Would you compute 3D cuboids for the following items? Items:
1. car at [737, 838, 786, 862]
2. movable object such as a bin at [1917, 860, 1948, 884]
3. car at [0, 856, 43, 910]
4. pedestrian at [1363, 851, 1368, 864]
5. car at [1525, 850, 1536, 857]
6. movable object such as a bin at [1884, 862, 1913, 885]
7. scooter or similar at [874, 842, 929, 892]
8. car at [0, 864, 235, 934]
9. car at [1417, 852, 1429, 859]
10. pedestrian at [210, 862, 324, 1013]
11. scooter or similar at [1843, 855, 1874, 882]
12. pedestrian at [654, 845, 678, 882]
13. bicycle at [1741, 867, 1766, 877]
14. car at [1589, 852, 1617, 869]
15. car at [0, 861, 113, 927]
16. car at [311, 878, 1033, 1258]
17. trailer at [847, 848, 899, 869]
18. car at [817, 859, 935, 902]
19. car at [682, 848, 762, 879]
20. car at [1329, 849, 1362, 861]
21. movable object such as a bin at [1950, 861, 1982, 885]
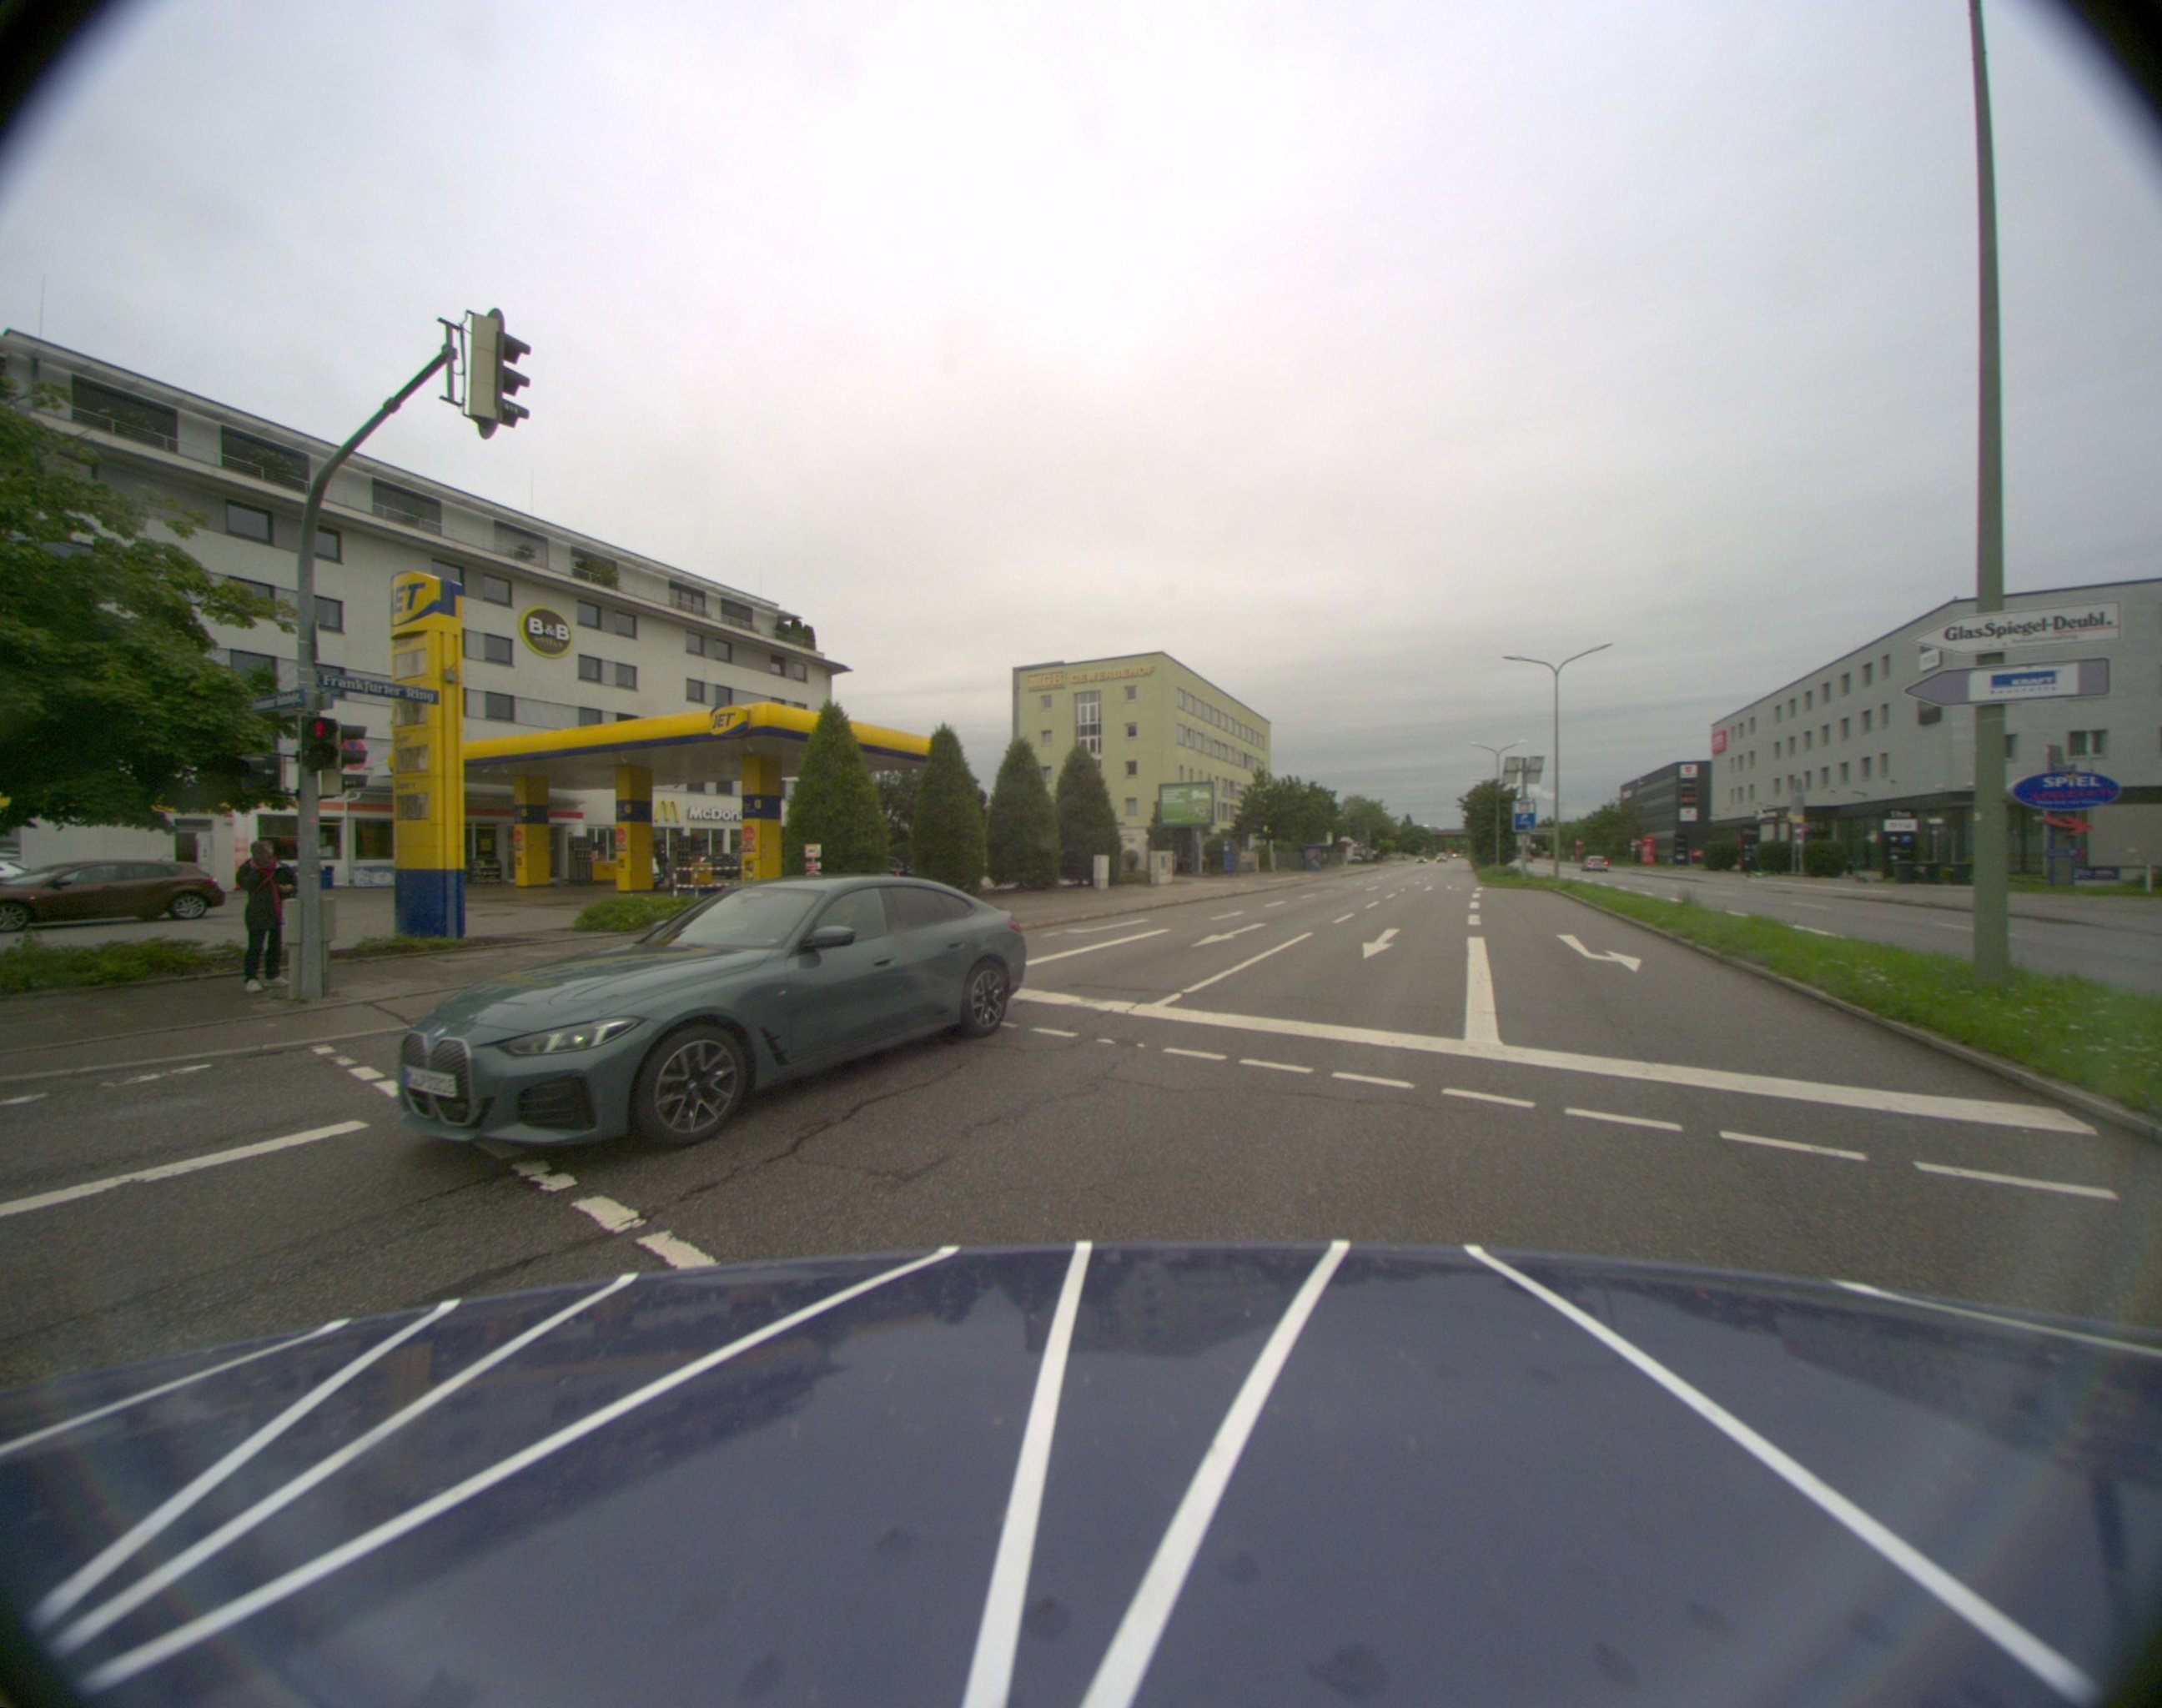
[{"bbox_3d":[-27.249,-0.345,64.873,3.989,1.931,1.725,-1,0,29],"label":"car"},{"bbox_3d":[38.900,0.812,34.730,0.737,1.072,0.656,-1,0,27],"label":"movable object such as a bin"},{"bbox_3d":[-31.163,0.829,20.023,1.904,1.469,4.200,-1,0,26],"label":"car"},{"bbox_3d":[41.759,0.524,111.583,0.681,1.810,0.689,-1,0,26],"label":"pedestrian"},{"bbox_3d":[94.234,-0.106,159.287,1.736,1.539,4.312,1,1,26],"label":"car"},{"bbox_3d":[38.528,0.910,35.805,0.737,1.072,0.656,-1,0,27],"label":"movable object such as a bin"},{"bbox_3d":[-4.633,0.313,19.690,0.356,1.236,1.548,3,2,32],"label":"scooter or similar"},{"bbox_3d":[-22.328,0.954,16.894,1.700,1.376,4.369,-1,0,17],"label":"car"},{"bbox_3d":[68.821,0.246,152.777,1.995,1.393,4.662,-1,0,26],"label":"car"},{"bbox_3d":[-9.382,0.922,8.771,0.802,1.606,0.689,3,2,26],"label":"pedestrian"},{"bbox_3d":[38.864,0.703,37.985,0.586,1.269,1.406,-5,-2,27],"label":"scooter or similar"},{"bbox_3d":[-19.167,0.440,35.123,0.707,1.718,0.644,-1,0,23],"label":"pedestrian"},{"bbox_3d":[42.675,1.142,48.220,0.720,0.545,1.735,-4,-1,27],"label":"bicycle"},{"bbox_3d":[51.677,0.619,75.321,1.815,1.549,4.034,1,1,28],"label":"car"},{"bbox_3d":[-25.698,0.949,17.490,1.624,1.477,3.985,-1,0,29],"label":"car"},{"bbox_3d":[-2.342,1.015,5.720,1.913,1.498,4.447,-1,0,27],"label":"car"},{"bbox_3d":[-16.593,0.359,60.479,3.800,1.640,1.638,-1,0,26],"label":"trailer"},{"bbox_3d":[-7.111,0.889,26.723,1.796,1.324,4.007,-1,0,26],"label":"car"},{"bbox_3d":[-19.268,0.485,40.804,3.990,1.578,1.709,0,1,25],"label":"car"},{"bbox_3d":[42.573,0.095,122.219,4.641,1.831,1.802,-1,0,4],"label":"car"},{"bbox_3d":[40.008,0.865,34.369,0.737,1.072,0.656,-1,0,27],"label":"movable object such as a bin"}]
